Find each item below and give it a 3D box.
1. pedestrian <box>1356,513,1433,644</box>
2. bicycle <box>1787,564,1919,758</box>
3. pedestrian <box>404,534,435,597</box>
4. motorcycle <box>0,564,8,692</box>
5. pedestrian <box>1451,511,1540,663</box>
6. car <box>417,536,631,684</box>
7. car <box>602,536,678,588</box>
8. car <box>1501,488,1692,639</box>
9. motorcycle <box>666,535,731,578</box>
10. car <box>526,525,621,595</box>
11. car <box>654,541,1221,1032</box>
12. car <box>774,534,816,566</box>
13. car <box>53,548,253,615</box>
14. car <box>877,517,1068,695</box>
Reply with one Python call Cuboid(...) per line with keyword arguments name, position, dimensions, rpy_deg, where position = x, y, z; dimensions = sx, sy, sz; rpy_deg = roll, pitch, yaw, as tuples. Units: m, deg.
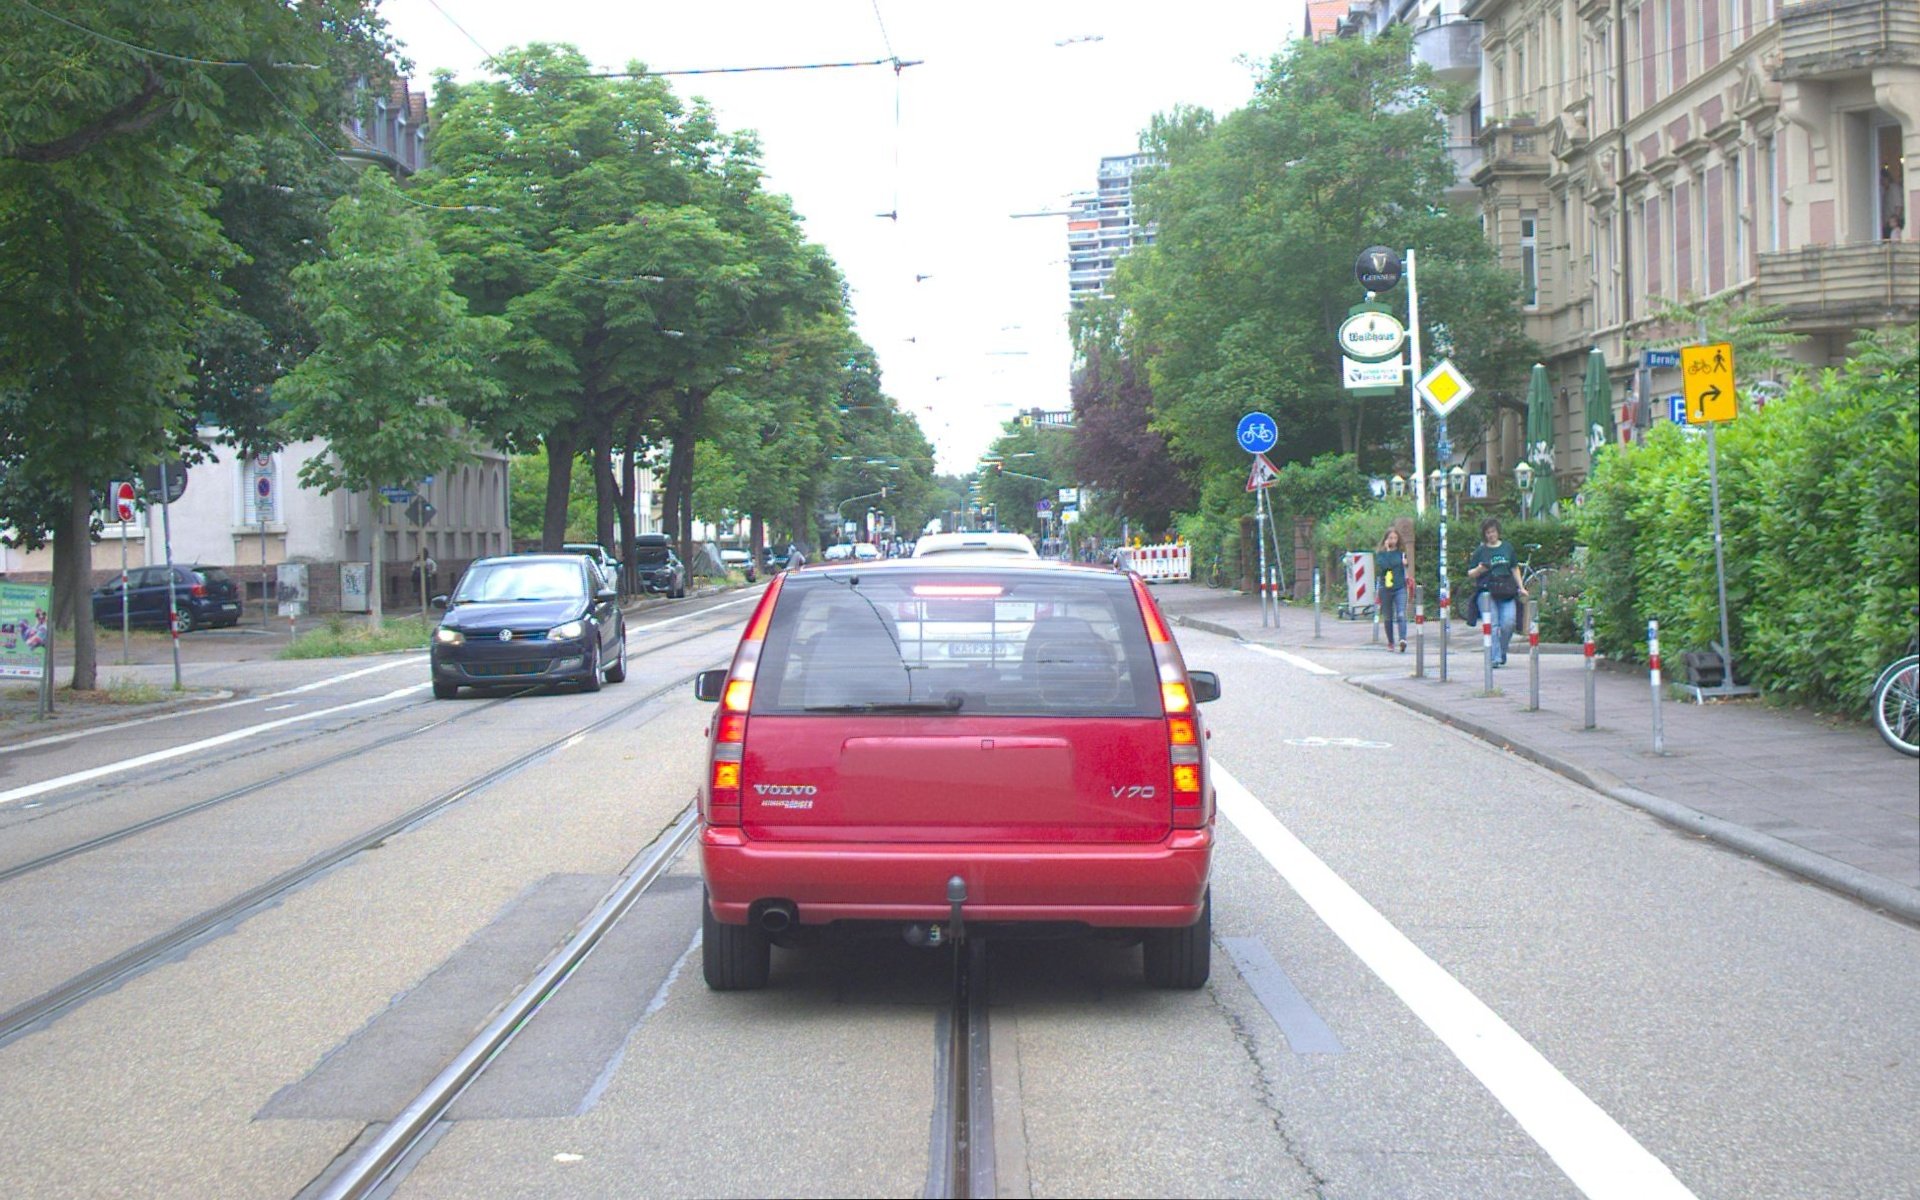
Cuboid(name="pedestrian", position=(5.607, -0.284, 44.372), dimensions=(0.873, 1.650, 0.908), rpy_deg=(-1, 1, 13))
Cuboid(name="bicycle", position=(5.893, 0.367, 22.151), dimensions=(0.632, 1.124, 1.812), rpy_deg=(-3, 2, 0))
Cuboid(name="pedestrian", position=(-12.577, -0.806, 79.971), dimensions=(0.564, 1.462, 0.723), rpy_deg=(-1, 1, 0))
Cuboid(name="motorcycle", position=(-9.615, 0.292, 33.041), dimensions=(0.539, 1.253, 2.143), rpy_deg=(-1, 1, -6))
Cuboid(name="pedestrian", position=(5.930, -0.149, 38.112), dimensions=(0.793, 1.630, 0.836), rpy_deg=(-2, 1, 1))
Cuboid(name="car", position=(-4.445, 0.060, 35.510), dimensions=(1.729, 1.404, 3.655), rpy_deg=(-1, 1, 0))
Cuboid(name="car", position=(-9.535, -1.160, 102.736), dimensions=(1.777, 1.505, 4.237), rpy_deg=(0, 1, 1))
Cuboid(name="car", position=(8.548, -0.521, 45.812), dimensions=(2.053, 1.871, 5.026), rpy_deg=(-1, 1, 15))
Cuboid(name="motorcycle", position=(-9.479, -1.581, 124.675), dimensions=(2.269, 1.506, 0.925), rpy_deg=(-1, -1, 35))
Cuboid(name="car", position=(-9.430, -0.996, 84.081), dimensions=(1.897, 1.650, 4.226), rpy_deg=(-1, 1, -1))
Cuboid(name="car", position=(0.020, 0.524, 12.124), dimensions=(1.689, 1.436, 3.743), rpy_deg=(0, 1, 3))
Cuboid(name="car", position=(-8.137, -2.472, 169.744), dimensions=(1.851, 1.558, 3.943), rpy_deg=(-1, 1, 0))
Cuboid(name="car", position=(-16.876, -0.395, 71.869), dimensions=(3.753, 1.302, 1.739), rpy_deg=(-1, 1, 24))
Cuboid(name="car", position=(0.177, 0.023, 33.729), dimensions=(1.719, 1.619, 3.941), rpy_deg=(-1, 1, 2))
